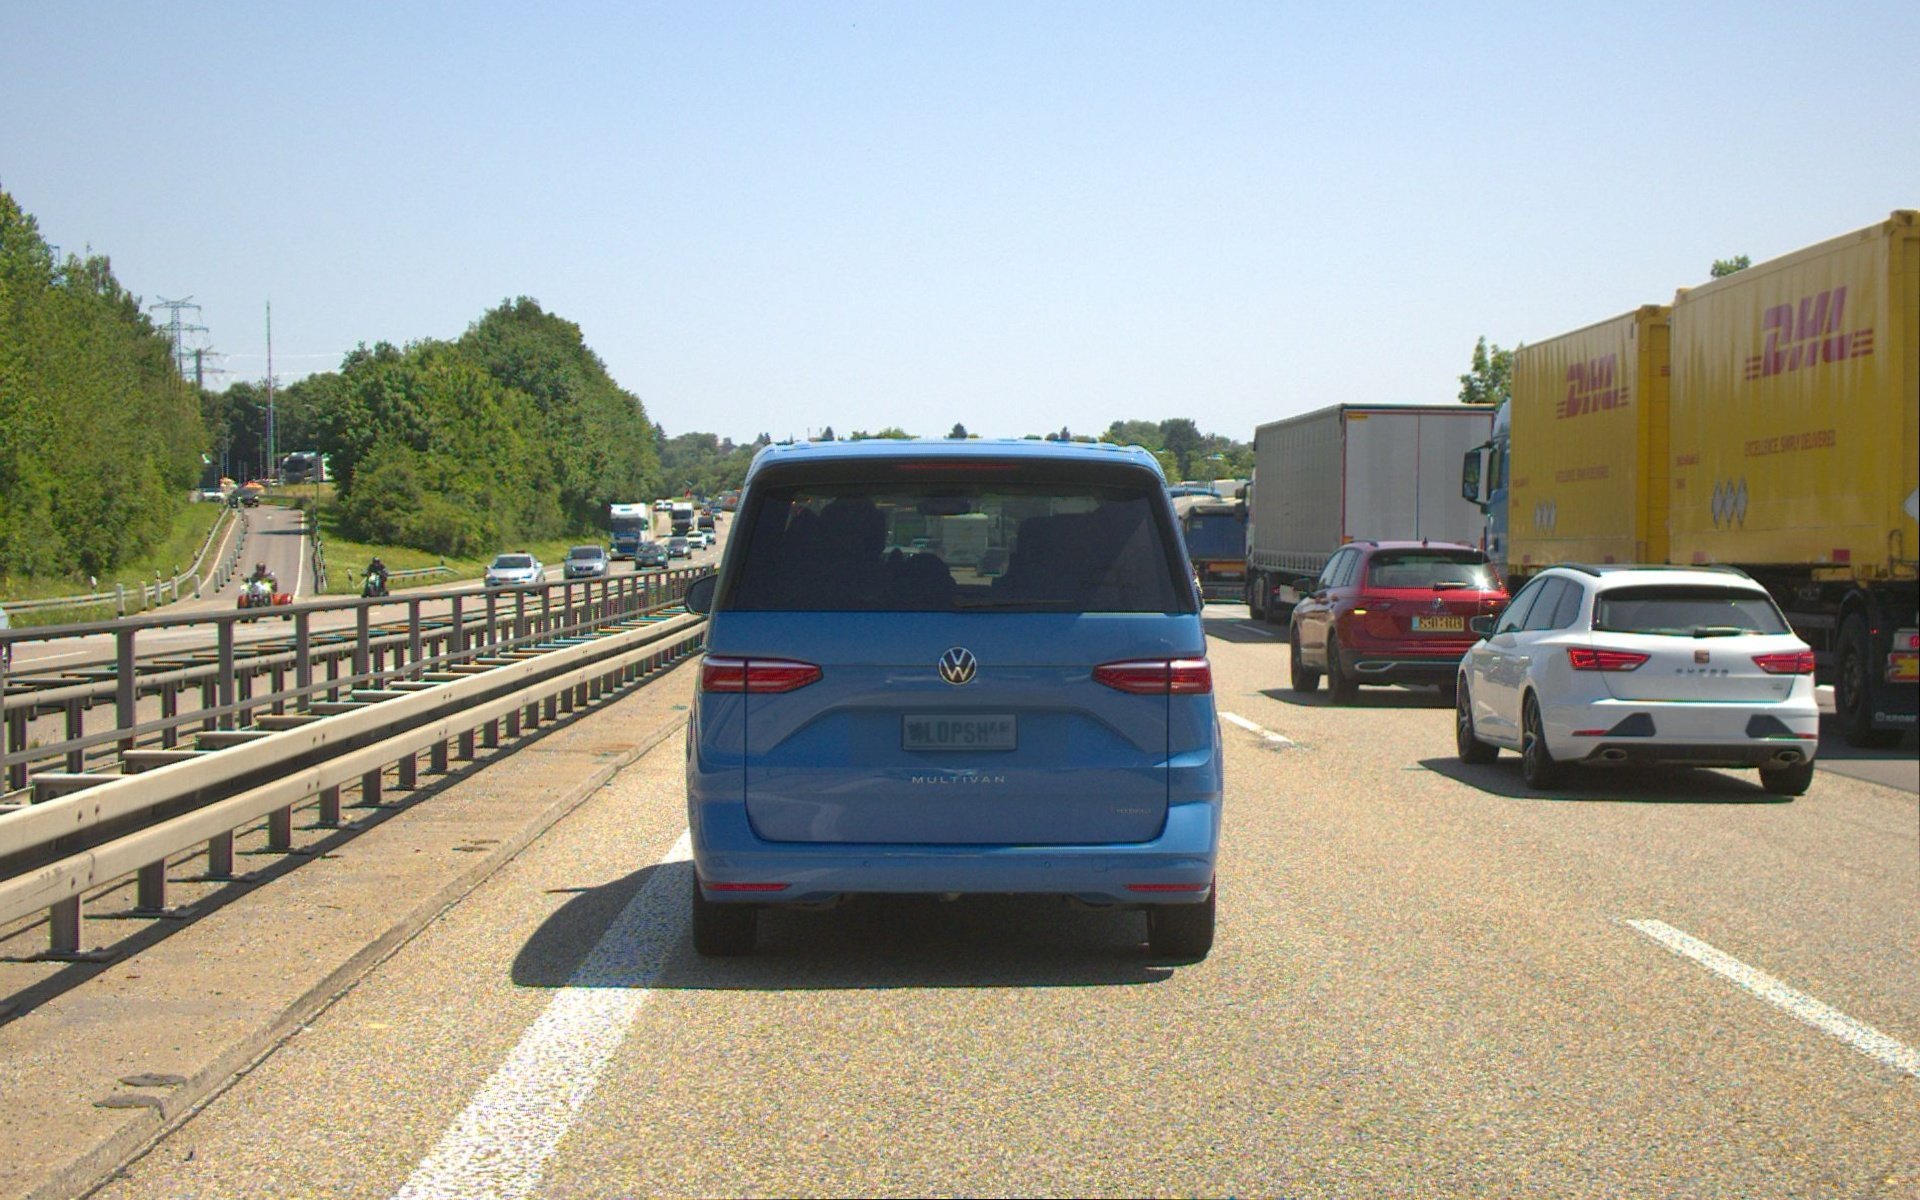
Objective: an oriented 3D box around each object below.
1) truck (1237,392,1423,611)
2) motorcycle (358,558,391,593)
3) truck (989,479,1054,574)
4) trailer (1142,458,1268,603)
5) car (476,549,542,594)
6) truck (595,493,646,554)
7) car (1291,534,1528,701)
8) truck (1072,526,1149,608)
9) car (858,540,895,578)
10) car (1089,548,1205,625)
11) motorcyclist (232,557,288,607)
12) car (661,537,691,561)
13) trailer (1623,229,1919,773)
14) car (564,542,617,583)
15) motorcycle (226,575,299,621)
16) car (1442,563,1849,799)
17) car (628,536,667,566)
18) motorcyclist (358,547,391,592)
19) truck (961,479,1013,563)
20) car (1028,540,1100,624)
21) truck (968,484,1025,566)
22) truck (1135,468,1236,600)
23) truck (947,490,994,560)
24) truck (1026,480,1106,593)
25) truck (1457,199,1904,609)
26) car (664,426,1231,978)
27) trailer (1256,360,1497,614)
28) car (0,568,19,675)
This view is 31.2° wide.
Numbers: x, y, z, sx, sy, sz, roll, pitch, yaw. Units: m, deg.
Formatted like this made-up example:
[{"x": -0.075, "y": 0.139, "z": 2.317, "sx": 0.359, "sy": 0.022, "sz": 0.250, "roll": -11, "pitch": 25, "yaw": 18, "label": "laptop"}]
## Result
[{"x": 7.286, "y": -1.875, "z": 68.540, "sx": 2.768, "sy": 4.081, "sz": 6.984, "roll": 1, "pitch": 0, "yaw": -1, "label": "truck"}, {"x": -19.077, "y": -0.806, "z": 112.035, "sx": 0.702, "sy": 1.067, "sz": 2.306, "roll": -1, "pitch": 2, "yaw": -1, "label": "motorcycle"}, {"x": 3.352, "y": -3.983, "z": 190.058, "sx": 2.833, "sy": 5.023, "sz": 11.818, "roll": 1, "pitch": 0, "yaw": -2, "label": "truck"}, {"x": 6.675, "y": -1.826, "z": 95.158, "sx": 2.379, "sy": 3.731, "sz": 11.189, "roll": 1, "pitch": 0, "yaw": -1, "label": "trailer"}, {"x": -15.431, "y": -0.977, "z": 117.765, "sx": 1.715, "sy": 1.429, "sz": 4.176, "roll": -3, "pitch": 1, "yaw": -1, "label": "car"}, {"x": -24.448, "y": -5.497, "z": 247.876, "sx": 2.989, "sy": 4.264, "sz": 7.189, "roll": -1, "pitch": 1, "yaw": -1, "label": "truck"}, {"x": 4.519, "y": 0.145, "z": 35.098, "sx": 1.851, "sy": 1.603, "sz": 4.000, "roll": 0, "pitch": 1, "yaw": -1, "label": "car"}, {"x": 6.188, "y": -1.336, "z": 142.575, "sx": 2.355, "sy": 3.207, "sz": 9.741, "roll": 1, "pitch": 0, "yaw": -2, "label": "truck"}, {"x": -4.557, "y": -2.215, "z": 188.371, "sx": 1.993, "sy": 2.007, "sz": 4.000, "roll": 1, "pitch": 0, "yaw": -1, "label": "car"}, {"x": 3.549, "y": -0.274, "z": 65.866, "sx": 1.838, "sy": 1.409, "sz": 4.000, "roll": 0, "pitch": 1, "yaw": -2, "label": "car"}, {"x": -18.149, "y": -0.468, "z": 89.179, "sx": 1.186, "sy": 1.252, "sz": 1.119, "roll": -2, "pitch": 1, "yaw": -1, "label": "motorcyclist"}, {"x": -19.632, "y": -3.518, "z": 237.894, "sx": 1.829, "sy": 1.604, "sz": 4.169, "roll": -1, "pitch": 1, "yaw": -1, "label": "car"}, {"x": 8.099, "y": -0.719, "z": 29.876, "sx": 2.701, "sy": 4.010, "sz": 8.931, "roll": 1, "pitch": 0, "yaw": -1, "label": "trailer"}, {"x": -15.660, "y": -1.602, "z": 145.921, "sx": 1.829, "sy": 1.604, "sz": 4.169, "roll": -3, "pitch": 1, "yaw": -1, "label": "car"}, {"x": -18.128, "y": -0.064, "z": 89.418, "sx": 1.366, "sy": 1.095, "sz": 2.576, "roll": -3, "pitch": 1, "yaw": -1, "label": "motorcycle"}, {"x": 4.388, "y": 0.462, "z": 22.625, "sx": 1.781, "sy": 1.382, "sz": 4.188, "roll": 1, "pitch": 1, "yaw": -1, "label": "car"}, {"x": -17.534, "y": -2.742, "z": 193.242, "sx": 1.829, "sy": 1.604, "sz": 4.169, "roll": -2, "pitch": 1, "yaw": -1, "label": "car"}, {"x": -19.065, "y": -1.003, "z": 112.005, "sx": 0.898, "sy": 1.436, "sz": 1.082, "roll": -1, "pitch": 2, "yaw": -1, "label": "motorcyclist"}, {"x": 1.750, "y": -5.240, "z": 231.299, "sx": 2.833, "sy": 5.354, "sz": 12.556, "roll": 1, "pitch": 0, "yaw": -2, "label": "truck"}, {"x": 2.585, "y": -0.449, "z": 85.993, "sx": 1.583, "sy": 2.007, "sz": 3.493, "roll": 1, "pitch": 0, "yaw": -1, "label": "car"}, {"x": 2.195, "y": -4.617, "z": 212.766, "sx": 2.833, "sy": 4.869, "sz": 13.222, "roll": -1, "pitch": 1, "yaw": -2, "label": "truck"}, {"x": 6.568, "y": -1.887, "z": 100.812, "sx": 2.367, "sy": 3.709, "sz": 6.034, "roll": 1, "pitch": 0, "yaw": -1, "label": "truck"}, {"x": 0.734, "y": -5.480, "z": 254.978, "sx": 2.833, "sy": 5.023, "sz": 12.914, "roll": -1, "pitch": 1, "yaw": -2, "label": "truck"}, {"x": 4.884, "y": -2.887, "z": 160.199, "sx": 2.833, "sy": 5.023, "sz": 11.147, "roll": 1, "pitch": 0, "yaw": -2, "label": "truck"}, {"x": 7.950, "y": -1.974, "z": 39.541, "sx": 2.722, "sy": 4.041, "sz": 10.336, "roll": 1, "pitch": 0, "yaw": -1, "label": "truck"}, {"x": -0.064, "y": 0.318, "z": 13.509, "sx": 1.882, "sy": 1.831, "sz": 4.000, "roll": 1, "pitch": 1, "yaw": -1, "label": "car"}, {"x": 7.357, "y": -1.880, "z": 62.400, "sx": 2.755, "sy": 4.132, "sz": 11.312, "roll": 1, "pitch": 0, "yaw": -1, "label": "trailer"}, {"x": -13.415, "y": 0.302, "z": 43.466, "sx": 1.910, "sy": 1.389, "sz": 4.165, "roll": -1, "pitch": 0, "yaw": -1, "label": "car"}]
